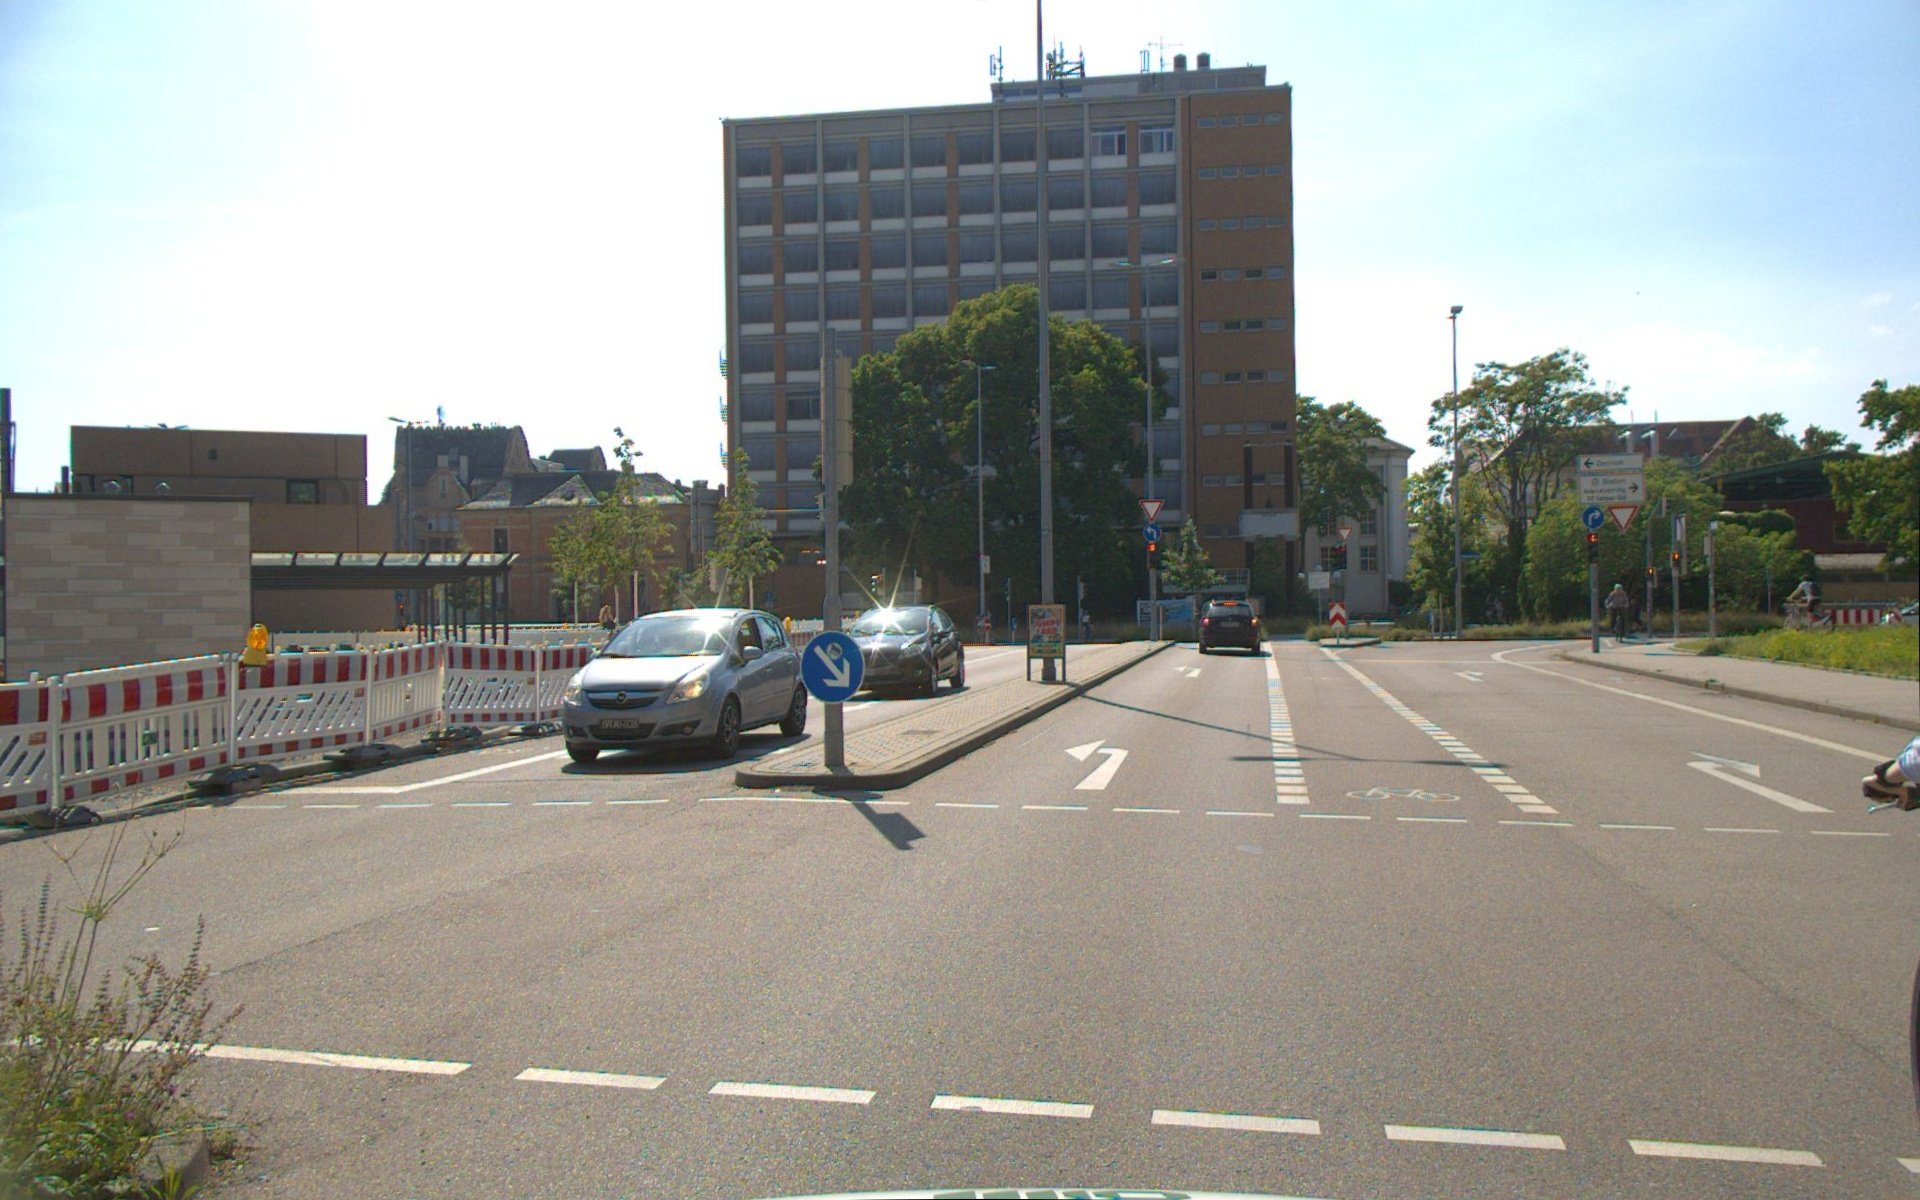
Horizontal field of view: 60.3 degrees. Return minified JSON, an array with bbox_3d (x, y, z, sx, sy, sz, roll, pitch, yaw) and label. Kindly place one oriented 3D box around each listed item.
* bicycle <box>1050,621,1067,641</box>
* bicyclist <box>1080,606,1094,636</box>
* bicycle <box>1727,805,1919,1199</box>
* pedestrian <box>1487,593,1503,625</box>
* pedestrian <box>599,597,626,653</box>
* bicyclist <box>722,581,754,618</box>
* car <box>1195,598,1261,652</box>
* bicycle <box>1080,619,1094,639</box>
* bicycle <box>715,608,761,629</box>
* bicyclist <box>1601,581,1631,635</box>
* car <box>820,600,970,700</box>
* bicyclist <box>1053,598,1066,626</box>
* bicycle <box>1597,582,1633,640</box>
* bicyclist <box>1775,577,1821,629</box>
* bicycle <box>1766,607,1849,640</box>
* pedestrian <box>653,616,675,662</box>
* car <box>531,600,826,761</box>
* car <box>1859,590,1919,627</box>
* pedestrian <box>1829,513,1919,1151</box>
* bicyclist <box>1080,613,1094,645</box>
[{"bbox_3d":[5.176,1.626,87.058,0.689,0.994,2.032,-2,0,8],"label":"bicycle"},{"bbox_3d":[6.483,1.081,84.457,0.605,1.468,0.921,-4,-1,5],"label":"bicyclist"},{"bbox_3d":[2.530,1.074,3.879,0.584,0.948,2.029,0,0,2],"label":"bicycle"},{"bbox_3d":[32.827,0.575,101.465,0.777,1.907,0.639,-3,0,22],"label":"pedestrian"},{"bbox_3d":[-11.280,0.819,53.687,0.721,1.783,1.109,-1,-3,-6],"label":"pedestrian"},{"bbox_3d":[-9.188,-0.004,68.407,1.141,1.500,0.564,-2,-1,23],"label":"bicyclist"},{"bbox_3d":[7.647,0.675,46.894,1.742,1.468,3.821,0,0,11],"label":"car"},{"bbox_3d":[6.507,1.480,84.450,0.605,0.977,1.969,-4,-1,6],"label":"bicycle"},{"bbox_3d":[-9.171,0.767,68.396,1.851,0.806,0.560,-1,1,23],"label":"bicycle"},{"bbox_3d":[20.653,0.249,52.121,0.663,1.684,0.919,-2,0,10],"label":"bicyclist"},{"bbox_3d":[-1.002,0.780,27.536,1.631,1.476,3.821,-3,0,11],"label":"car"},{"bbox_3d":[5.247,0.620,87.120,0.528,1.441,1.031,-2,-2,9],"label":"bicyclist"},{"bbox_3d":[20.647,0.338,52.128,0.663,1.796,1.812,-2,0,10],"label":"bicycle"},{"bbox_3d":[24.860,0.094,49.078,0.490,1.496,1.130,2,-1,-31],"label":"bicyclist"},{"bbox_3d":[25.032,0.706,48.903,0.666,0.932,2.145,-1,-1,-32],"label":"bicycle"},{"bbox_3d":[-9.829,1.286,54.936,0.618,1.518,0.616,-1,-1,-6],"label":"pedestrian"},{"bbox_3d":[-2.825,0.767,17.546,1.755,1.436,4.003,-3,0,11],"label":"car"},{"bbox_3d":[40.037,0.344,69.116,3.902,1.490,2.001,-1,-2,10],"label":"car"},{"bbox_3d":[2.525,0.542,3.787,0.571,1.492,1.014,0,-1,3],"label":"pedestrian"},{"bbox_3d":[6.507,1.480,84.450,0.605,1.609,1.014,-4,-1,5],"label":"bicyclist"}]
